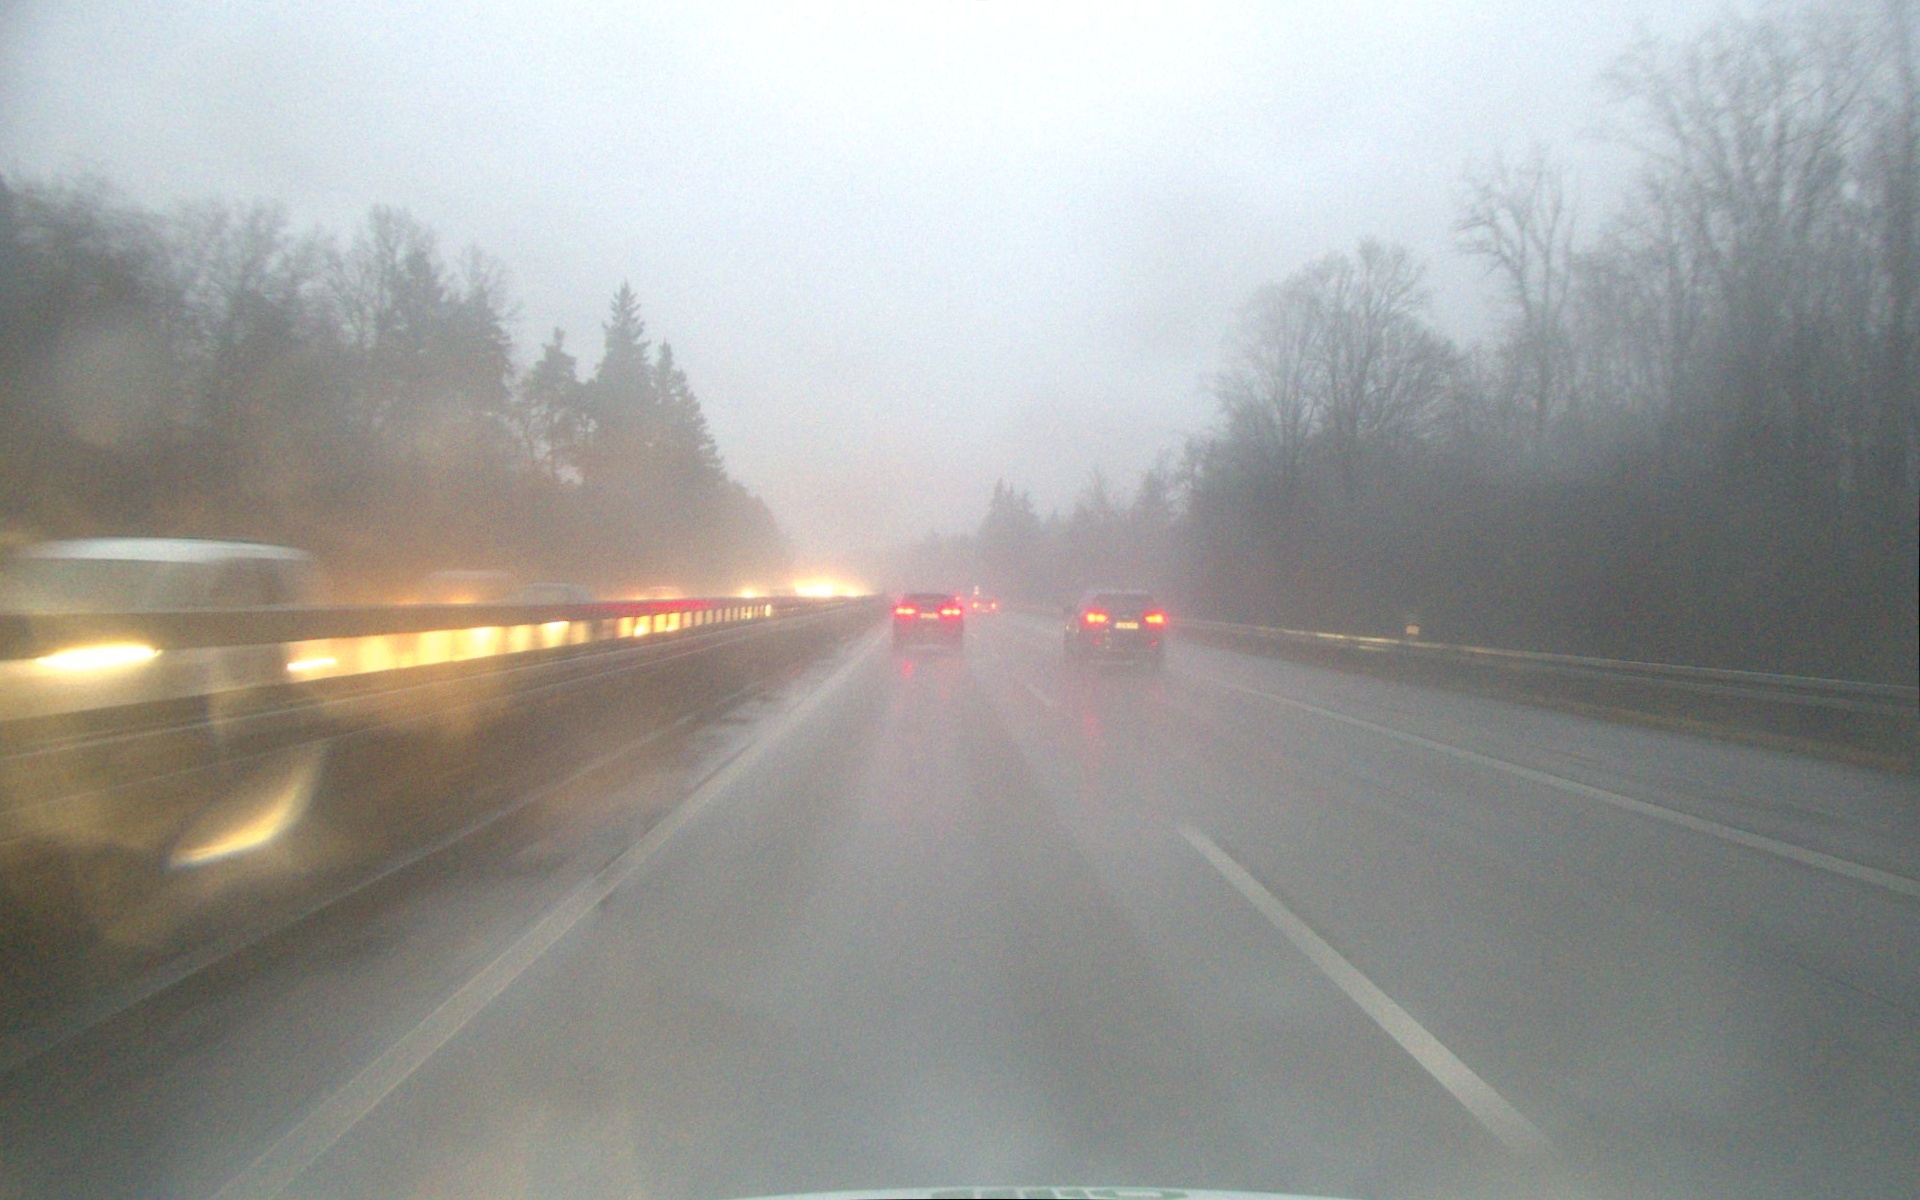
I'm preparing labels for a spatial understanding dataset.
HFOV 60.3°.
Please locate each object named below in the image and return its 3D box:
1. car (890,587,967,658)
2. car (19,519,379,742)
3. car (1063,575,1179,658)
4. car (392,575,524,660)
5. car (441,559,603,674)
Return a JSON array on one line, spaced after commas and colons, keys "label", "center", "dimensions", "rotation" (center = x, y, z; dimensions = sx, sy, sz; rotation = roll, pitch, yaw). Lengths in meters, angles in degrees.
[{"label": "car", "center": [-0.818, 0.572, 44.291], "dimensions": [1.946, 1.798, 4.173], "rotation": [0, 0, 0]}, {"label": "car", "center": [-7.777, 0.279, 17.461], "dimensions": [1.815, 2.017, 4.598], "rotation": [1, 0, -3]}, {"label": "car", "center": [3.538, 0.351, 37.141], "dimensions": [2.028, 1.727, 4.460], "rotation": [1, 0, -2]}, {"label": "car", "center": [-11.519, 0.385, 38.228], "dimensions": [1.817, 1.831, 4.000], "rotation": [1, 0, 0]}, {"label": "car", "center": [-8.433, 0.304, 32.293], "dimensions": [1.953, 2.049, 4.727], "rotation": [1, 0, -1]}]
